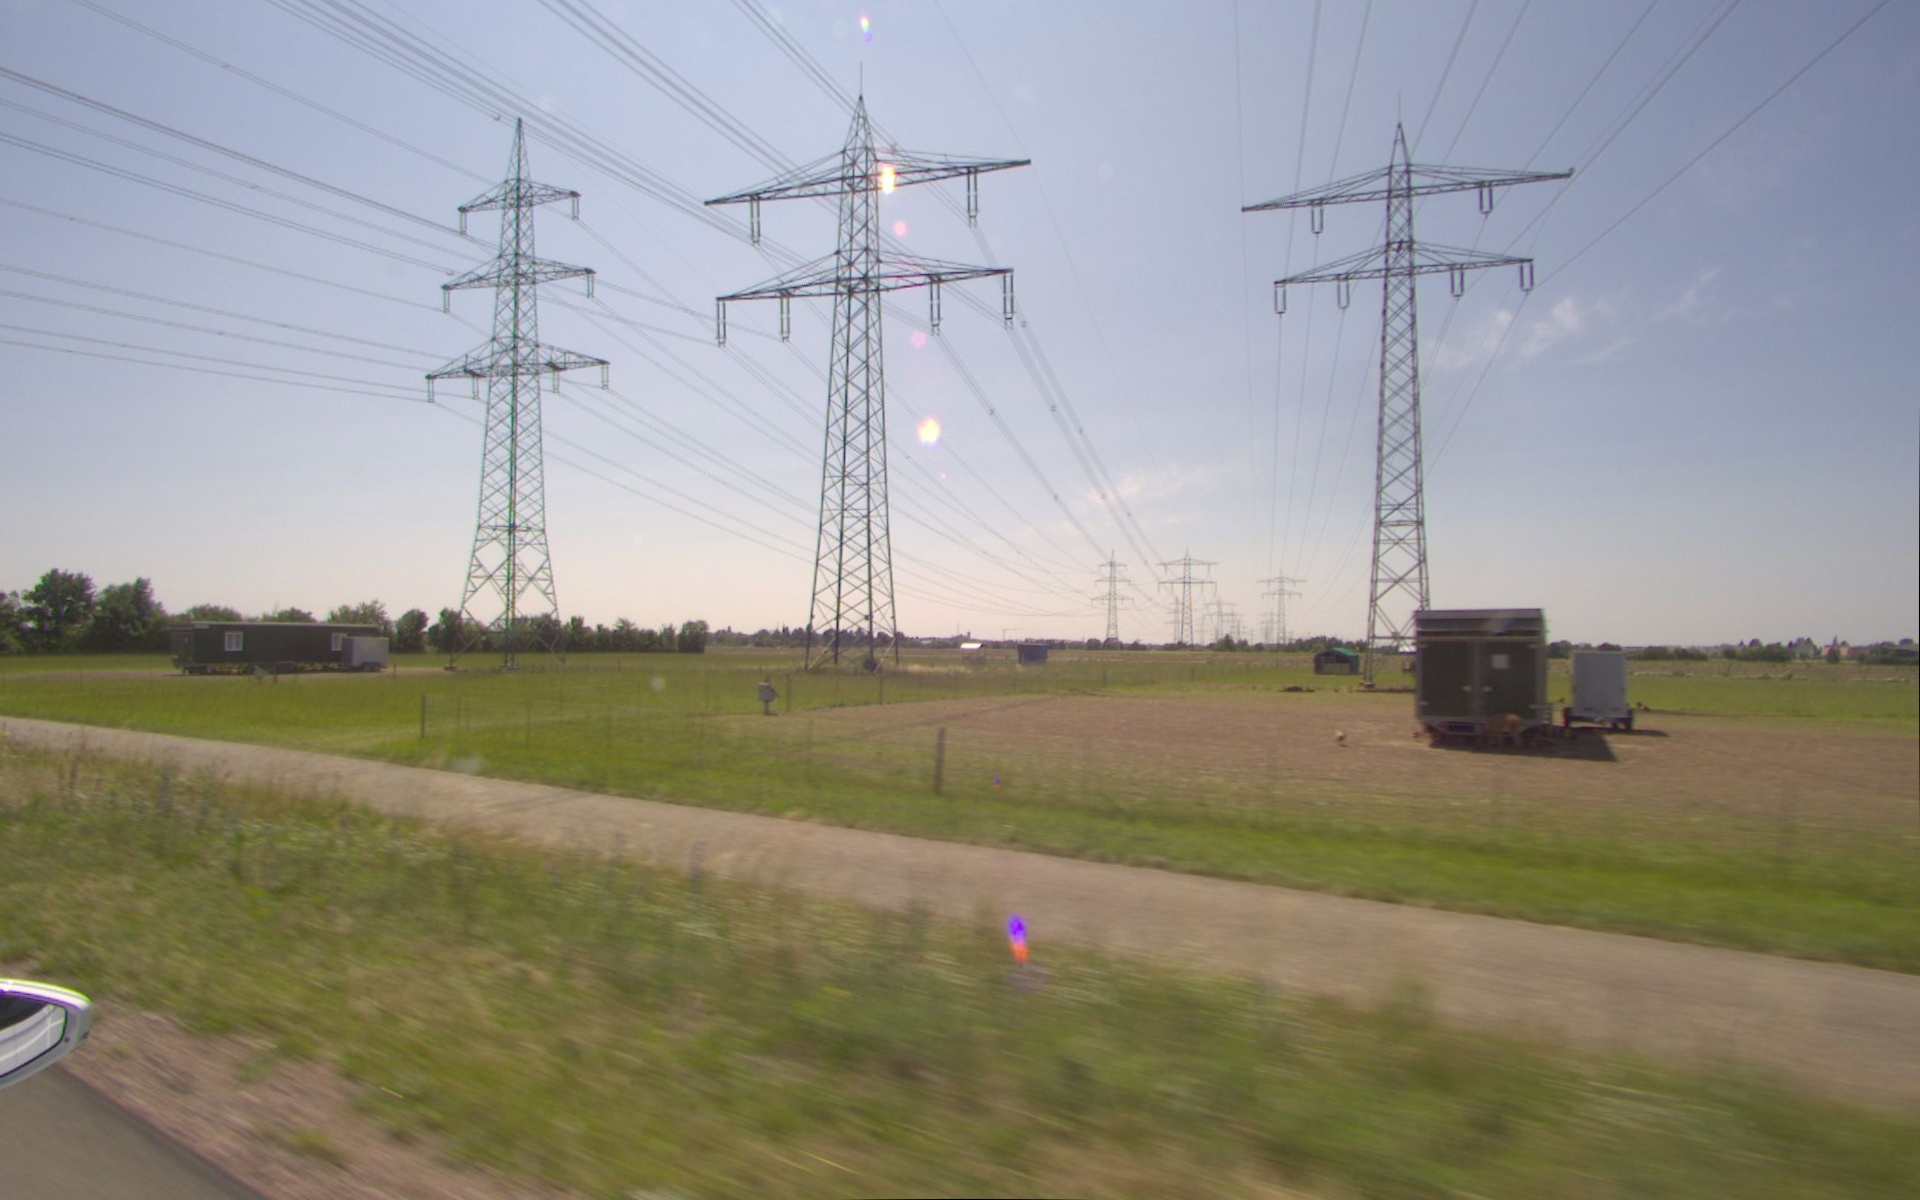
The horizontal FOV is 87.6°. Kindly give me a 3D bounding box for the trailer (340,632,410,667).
[{"bbox_3d":[-43.153,3.675,73.906,1.969,2.473,3.986,0,-2,28],"label":"trailer"}]

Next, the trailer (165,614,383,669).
[{"bbox_3d":[-48.242,2.990,71.118,3.748,3.516,12.403,0,-3,30],"label":"trailer"}]

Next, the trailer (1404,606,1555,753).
[{"bbox_3d":[16.244,2.214,30.591,3.228,3.518,13.494,0,-3,31],"label":"trailer"}]

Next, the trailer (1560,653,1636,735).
[{"bbox_3d":[20.815,2.985,32.799,2.008,2.493,3.403,0,-2,31],"label":"trailer"}]
